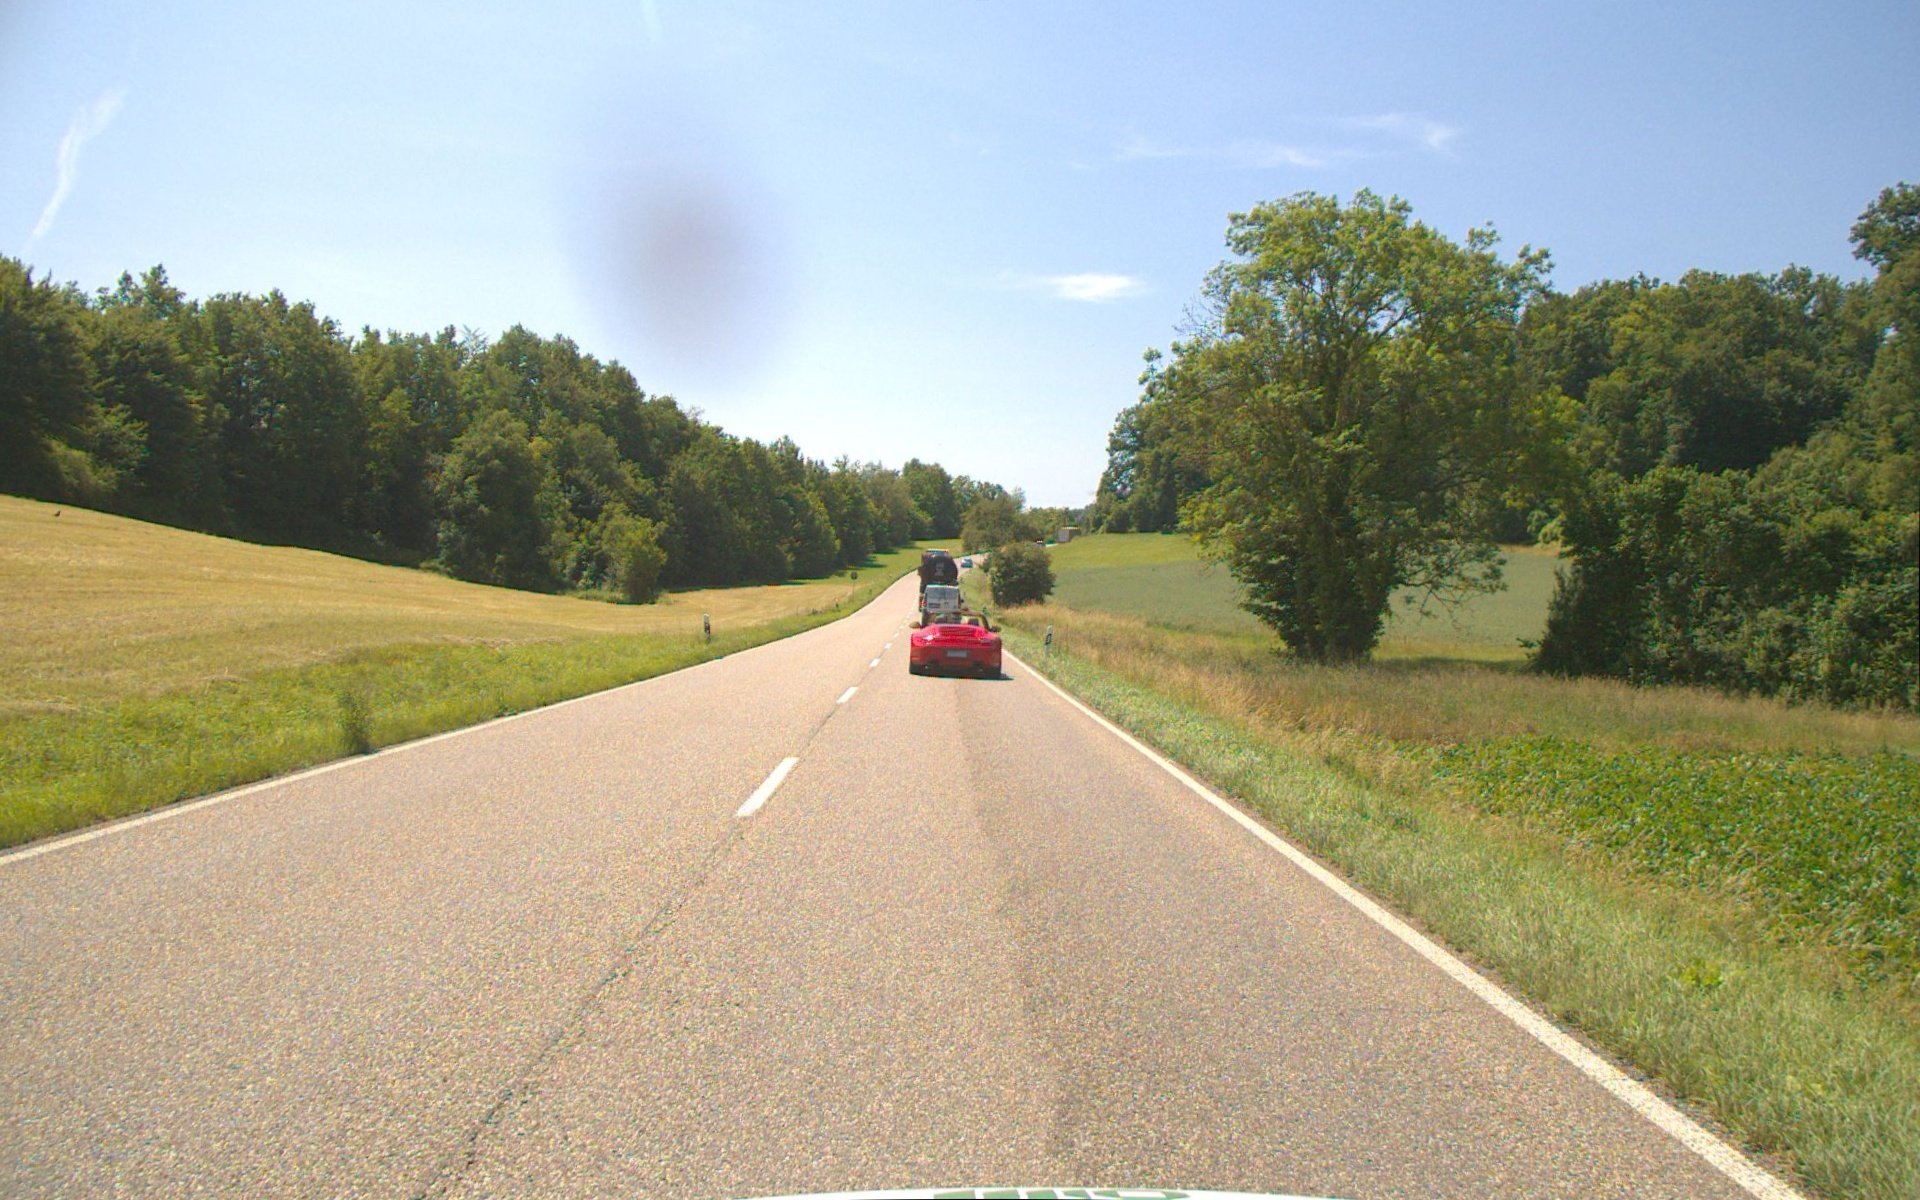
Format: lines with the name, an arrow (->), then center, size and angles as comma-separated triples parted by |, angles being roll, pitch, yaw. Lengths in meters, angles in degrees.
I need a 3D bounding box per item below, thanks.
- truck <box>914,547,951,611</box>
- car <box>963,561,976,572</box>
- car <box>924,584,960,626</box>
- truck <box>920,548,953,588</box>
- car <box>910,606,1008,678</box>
truck -> -1.961, -1.562, 115.238 | 2.355, 4.119, 12.548 | -1, 2, -2
car -> 1.410, -5.040, 247.059 | 1.662, 1.522, 3.715 | -1, 2, 5
car -> -0.836, 0.235, 79.106 | 1.644, 1.934, 4.009 | -1, 0, 0
truck -> -2.919, -3.890, 199.434 | 3.650, 4.741, 12.027 | 0, 1, -2
car -> -0.058, 0.813, 33.817 | 1.844, 1.277, 4.008 | 3, 0, -1
